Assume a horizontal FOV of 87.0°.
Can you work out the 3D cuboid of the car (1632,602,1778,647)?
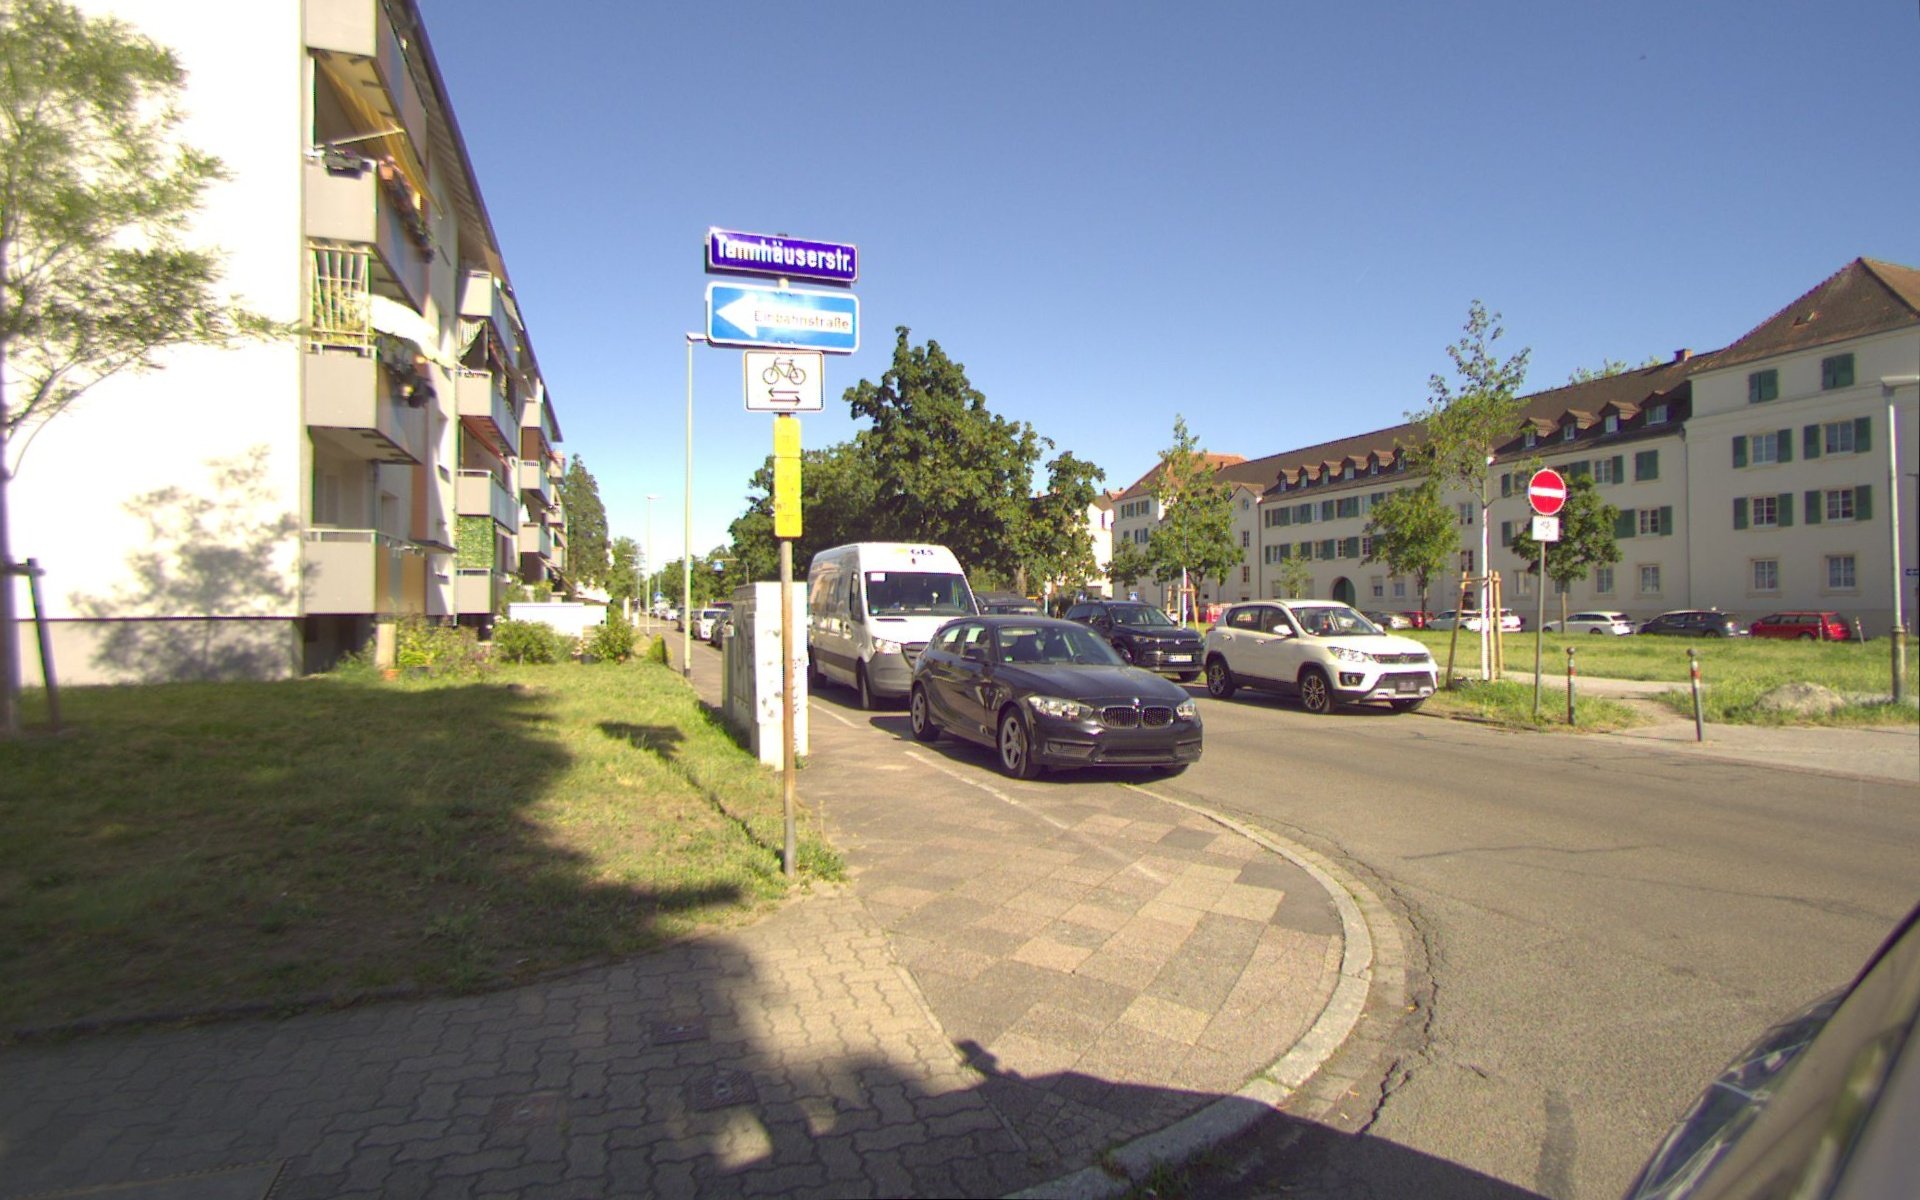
[{"bbox_3d":[32.186,1.013,43.899,2.119,1.843,4.714,0,0,-21],"label":"car"}]

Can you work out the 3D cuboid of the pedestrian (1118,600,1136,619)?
[{"bbox_3d":[16.785,0.948,101.834,1.316,1.988,1.165,0,-1,-24],"label":"pedestrian"}]

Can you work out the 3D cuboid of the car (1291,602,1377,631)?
[{"bbox_3d":[24.438,1.045,66.424,2.406,1.843,5.464,0,0,-17],"label":"car"}]

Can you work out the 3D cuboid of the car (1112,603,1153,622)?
[{"bbox_3d":[15.524,1.113,91.364,1.757,1.604,4.244,0,0,-20],"label":"car"}]

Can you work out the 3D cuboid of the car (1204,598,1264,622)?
[{"bbox_3d":[23.244,0.825,86.001,2.181,2.010,5.267,0,0,-21],"label":"car"}]

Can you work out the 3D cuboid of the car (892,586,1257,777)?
[{"bbox_3d":[0.854,0.672,10.396,1.923,1.501,4.507,2,-1,-20],"label":"car"}]

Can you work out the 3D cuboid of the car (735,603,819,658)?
[{"bbox_3d":[-5.450,0.838,29.745,1.844,1.494,4.148,0,0,-18],"label":"car"}]

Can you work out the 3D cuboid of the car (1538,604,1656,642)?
[{"bbox_3d":[34.269,1.196,54.643,2.115,1.910,5.169,0,0,-19],"label":"car"}]

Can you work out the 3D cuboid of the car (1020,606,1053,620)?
[{"bbox_3d":[8.749,1.506,116.735,1.958,1.504,4.968,1,-1,-20],"label":"car"}]

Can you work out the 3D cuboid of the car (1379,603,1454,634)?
[{"bbox_3d":[30.077,1.186,66.792,2.223,1.929,4.175,0,0,-20],"label":"car"}]

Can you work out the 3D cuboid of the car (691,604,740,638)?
[{"bbox_3d":[-11.662,0.961,48.152,1.717,1.518,3.868,0,-1,-22],"label":"car"}]

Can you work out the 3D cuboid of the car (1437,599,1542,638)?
[{"bbox_3d":[32.075,1.063,61.494,2.485,2.244,5.268,0,0,-21],"label":"car"}]

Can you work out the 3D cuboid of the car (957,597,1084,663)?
[{"bbox_3d":[1.531,0.775,27.765,1.787,1.630,4.748,2,-1,-19],"label":"car"}]

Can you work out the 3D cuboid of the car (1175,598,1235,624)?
[{"bbox_3d":[19.497,0.863,80.788,2.181,2.010,5.268,0,0,-19],"label":"car"}]

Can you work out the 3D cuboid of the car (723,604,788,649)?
[{"bbox_3d":[-7.112,0.879,34.869,1.690,1.454,4.160,0,-1,-19],"label":"car"}]

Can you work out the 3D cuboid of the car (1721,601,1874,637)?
[{"bbox_3d":[37.389,0.808,45.351,1.958,1.504,4.968,1,-1,-20],"label":"car"}]

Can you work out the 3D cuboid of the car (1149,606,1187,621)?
[{"bbox_3d":[19.705,1.266,95.941,1.737,1.373,4.008,0,0,-20],"label":"car"}]

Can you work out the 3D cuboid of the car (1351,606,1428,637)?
[{"bbox_3d":[26.090,1.285,61.627,2.276,1.772,4.017,0,0,-17],"label":"car"}]

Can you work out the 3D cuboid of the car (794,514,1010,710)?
[{"bbox_3d":[-1.328,0.206,17.763,2.104,2.748,6.854,2,-1,-17],"label":"car"}]

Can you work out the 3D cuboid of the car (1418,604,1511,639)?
[{"bbox_3d":[27.958,1.139,56.249,2.196,1.843,4.265,0,0,-21],"label":"car"}]

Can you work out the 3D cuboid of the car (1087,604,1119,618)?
[{"bbox_3d":[13.604,1.031,96.372,1.620,1.350,3.521,0,0,-20],"label":"car"}]

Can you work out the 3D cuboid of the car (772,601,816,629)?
[{"bbox_3d":[-10.155,0.891,61.688,1.989,1.646,4.766,1,-1,-18],"label":"car"}]

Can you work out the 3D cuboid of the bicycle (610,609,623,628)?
[{"bbox_3d":[-20.514,1.096,60.439,0.707,1.091,1.900,0,0,-17],"label":"bicycle"}]

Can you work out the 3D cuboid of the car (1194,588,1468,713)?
[{"bbox_3d":[5.554,0.708,15.791,1.725,1.668,4.295,2,-1,-18],"label":"car"}]

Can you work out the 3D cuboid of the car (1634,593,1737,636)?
[{"bbox_3d":[35.803,0.685,50.081,1.635,2.039,3.905,0,0,-19],"label":"car"}]

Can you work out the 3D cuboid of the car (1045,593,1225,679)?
[{"bbox_3d":[3.642,0.721,22.040,1.810,1.659,4.724,2,-1,-19],"label":"car"}]

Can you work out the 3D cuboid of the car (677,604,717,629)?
[{"bbox_3d":[-16.674,1.021,64.061,1.840,1.553,4.501,0,0,-22],"label":"car"}]

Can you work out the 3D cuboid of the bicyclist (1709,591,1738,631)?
[{"bbox_3d":[35.004,0.508,46.389,0.661,1.825,0.803,0,-1,-19],"label":"bicyclist"}]

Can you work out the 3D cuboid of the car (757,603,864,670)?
[{"bbox_3d":[-3.835,0.854,25.332,1.816,1.484,4.209,-1,0,-20],"label":"car"}]

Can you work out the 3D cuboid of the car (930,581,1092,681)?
[{"bbox_3d":[0.911,0.593,20.717,1.864,1.813,4.164,0,-1,-19],"label":"car"}]
